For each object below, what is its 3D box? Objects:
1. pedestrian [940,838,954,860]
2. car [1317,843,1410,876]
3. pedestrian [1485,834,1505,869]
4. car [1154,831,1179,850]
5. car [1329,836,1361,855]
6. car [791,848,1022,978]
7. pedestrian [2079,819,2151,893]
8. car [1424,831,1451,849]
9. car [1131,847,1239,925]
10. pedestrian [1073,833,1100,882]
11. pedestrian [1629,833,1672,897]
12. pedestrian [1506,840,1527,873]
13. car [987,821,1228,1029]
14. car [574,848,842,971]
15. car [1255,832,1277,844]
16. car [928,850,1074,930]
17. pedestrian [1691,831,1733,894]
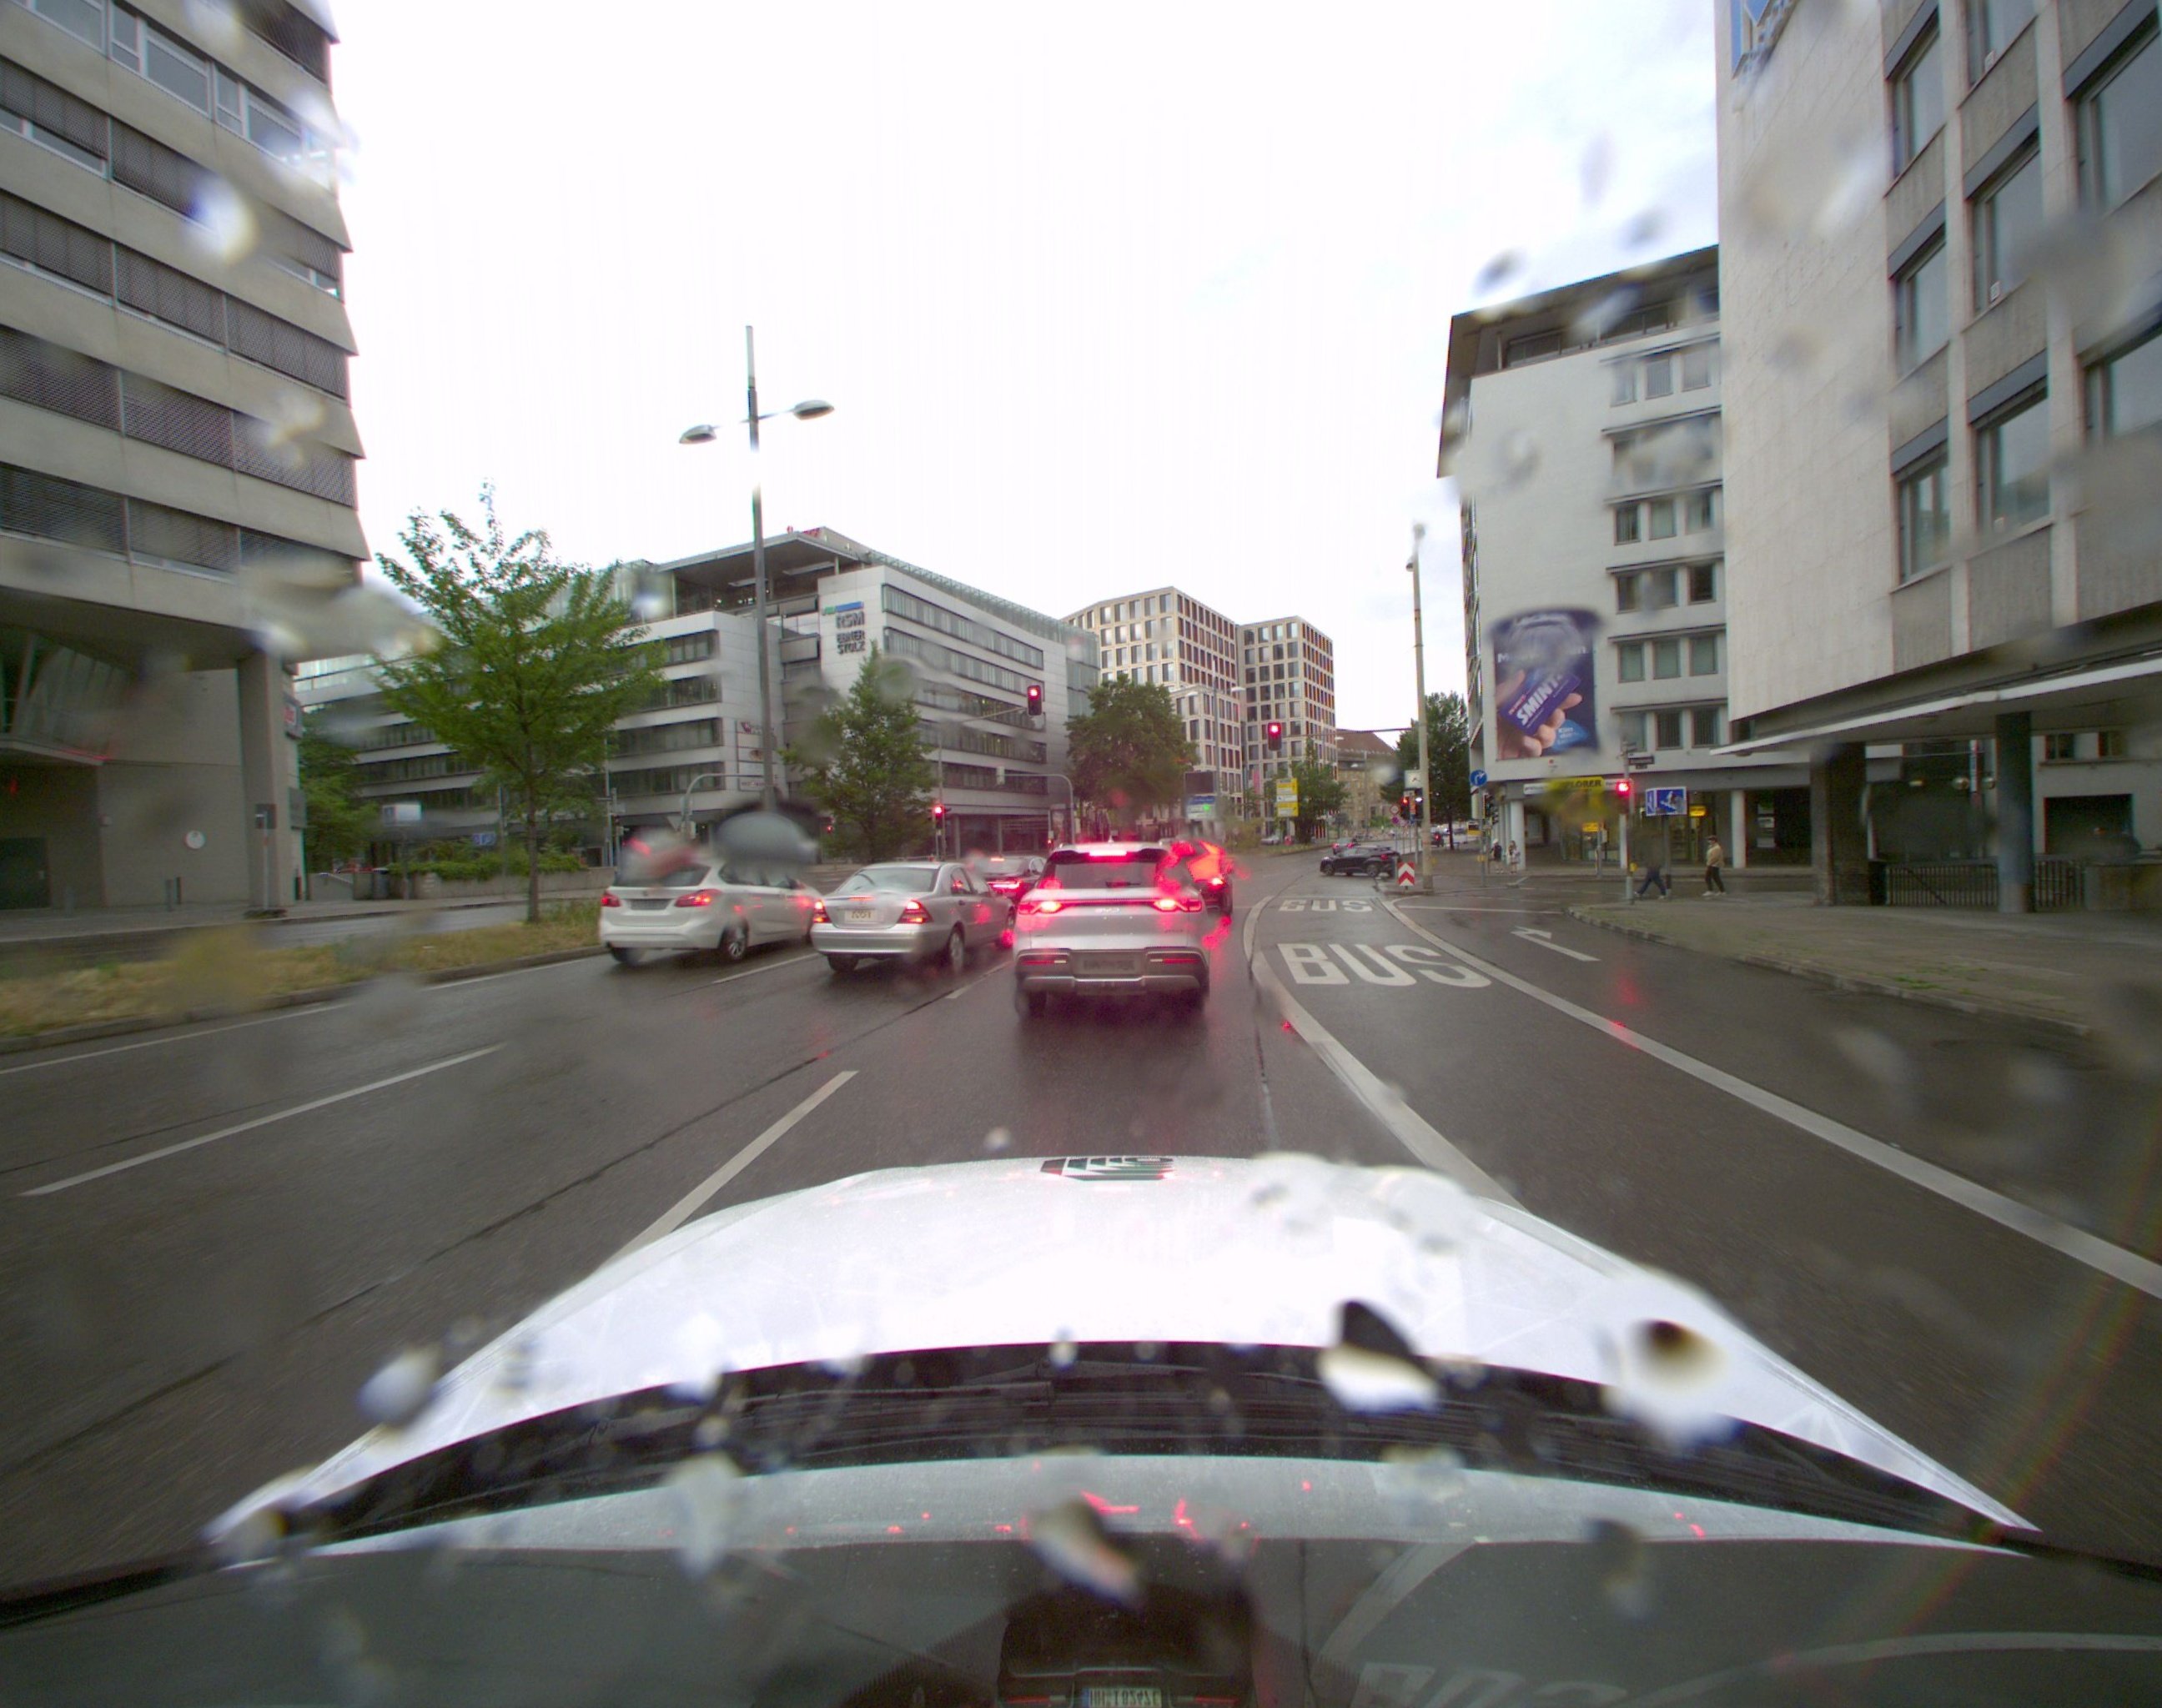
[{"bbox_3d":[-10.802,-0.410,65.602,0.720,1.727,0.930,-1,0,24],"label":"pedestrian"},{"bbox_3d":[14.085,0.243,40.766,2.009,1.552,3.957,-1,1,-35],"label":"car"},{"bbox_3d":[19.863,-0.115,39.074,0.721,1.668,0.694,-1,-1,18],"label":"pedestrian"},{"bbox_3d":[9.794,-1.498,92.770,1.722,2.161,4.517,0,0,21],"label":"car"},{"bbox_3d":[22.788,-0.748,70.141,1.892,1.510,4.383,0,1,28],"label":"car"},{"bbox_3d":[-2.224,0.689,11.642,1.671,1.486,4.209,-2,0,11],"label":"car"},{"bbox_3d":[25.428,0.048,20.052,0.800,1.755,1.005,-1,0,-43],"label":"pedestrian"},{"bbox_3d":[35.991,-1.439,82.154,2.027,1.765,4.384,0,1,30],"label":"car"},{"bbox_3d":[2.464,0.647,18.394,1.941,1.530,4.015,-1,0,14],"label":"car"},{"bbox_3d":[0.203,0.121,29.928,0.919,1.738,0.729,-2,0,-2],"label":"pedestrian"},{"bbox_3d":[16.499,0.317,23.610,0.806,1.798,0.714,-1,0,18],"label":"pedestrian"},{"bbox_3d":[20.545,0.099,38.451,0.721,1.524,0.763,-1,-1,18],"label":"pedestrian"},{"bbox_3d":[0.353,0.585,9.122,1.985,1.709,4.487,-2,0,3],"label":"car"},{"bbox_3d":[-5.531,0.719,12.817,1.774,1.573,4.297,-2,0,7],"label":"car"},{"bbox_3d":[27.577,-2.402,121.171,1.974,1.705,4.336,-1,2,30],"label":"car"},{"bbox_3d":[-1.620,0.707,18.069,1.941,1.530,4.015,-1,0,14],"label":"car"},{"bbox_3d":[18.242,0.241,23.565,0.721,1.798,0.743,-1,0,18],"label":"pedestrian"}]
